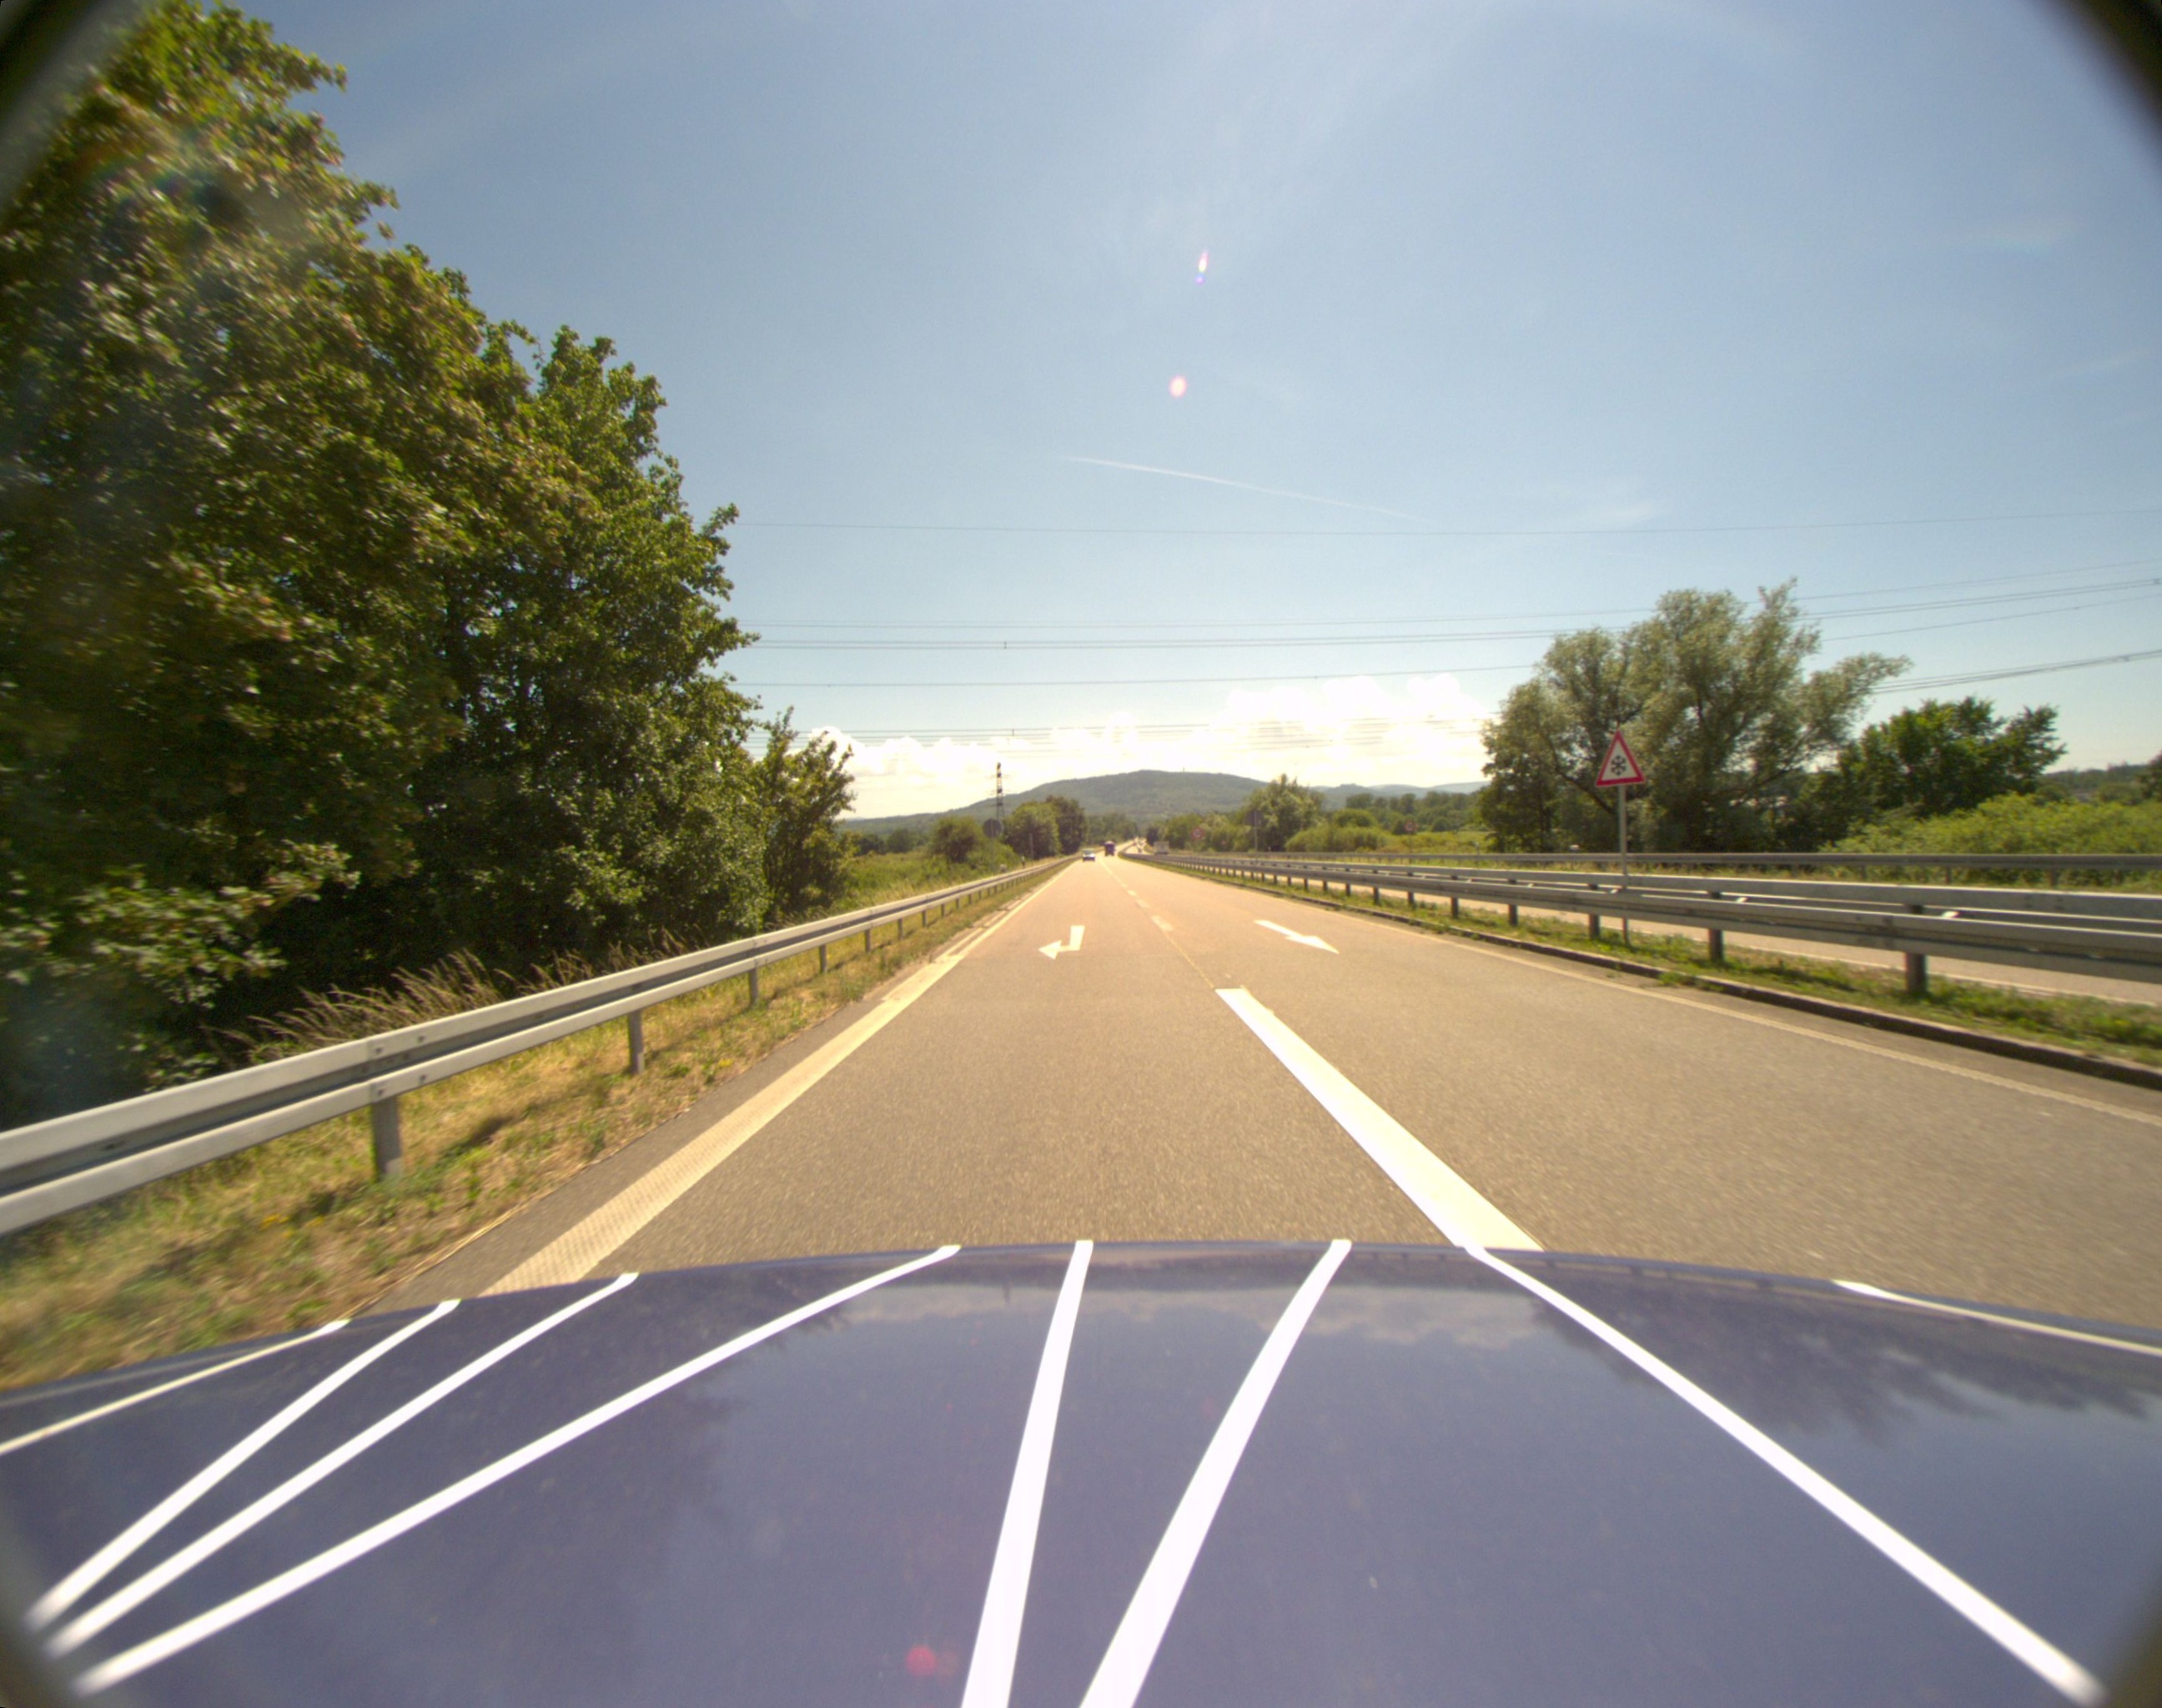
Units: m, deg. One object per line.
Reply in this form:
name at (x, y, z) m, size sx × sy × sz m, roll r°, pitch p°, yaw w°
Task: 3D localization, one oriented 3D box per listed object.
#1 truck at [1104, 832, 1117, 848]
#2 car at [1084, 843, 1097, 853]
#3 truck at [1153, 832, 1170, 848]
truck at (7.967, -3.724, 203.134) m, size 2.826 × 4.144 × 9.949 m, roll -2°, pitch 2°, yaw 5°
car at (1.429, -0.905, 110.393) m, size 1.577 × 1.387 × 3.486 m, roll -2°, pitch 2°, yaw 5°
truck at (16.633, -2.993, 157.111) m, size 2.725 × 3.175 × 8.403 m, roll -1°, pitch 1°, yaw 1°
